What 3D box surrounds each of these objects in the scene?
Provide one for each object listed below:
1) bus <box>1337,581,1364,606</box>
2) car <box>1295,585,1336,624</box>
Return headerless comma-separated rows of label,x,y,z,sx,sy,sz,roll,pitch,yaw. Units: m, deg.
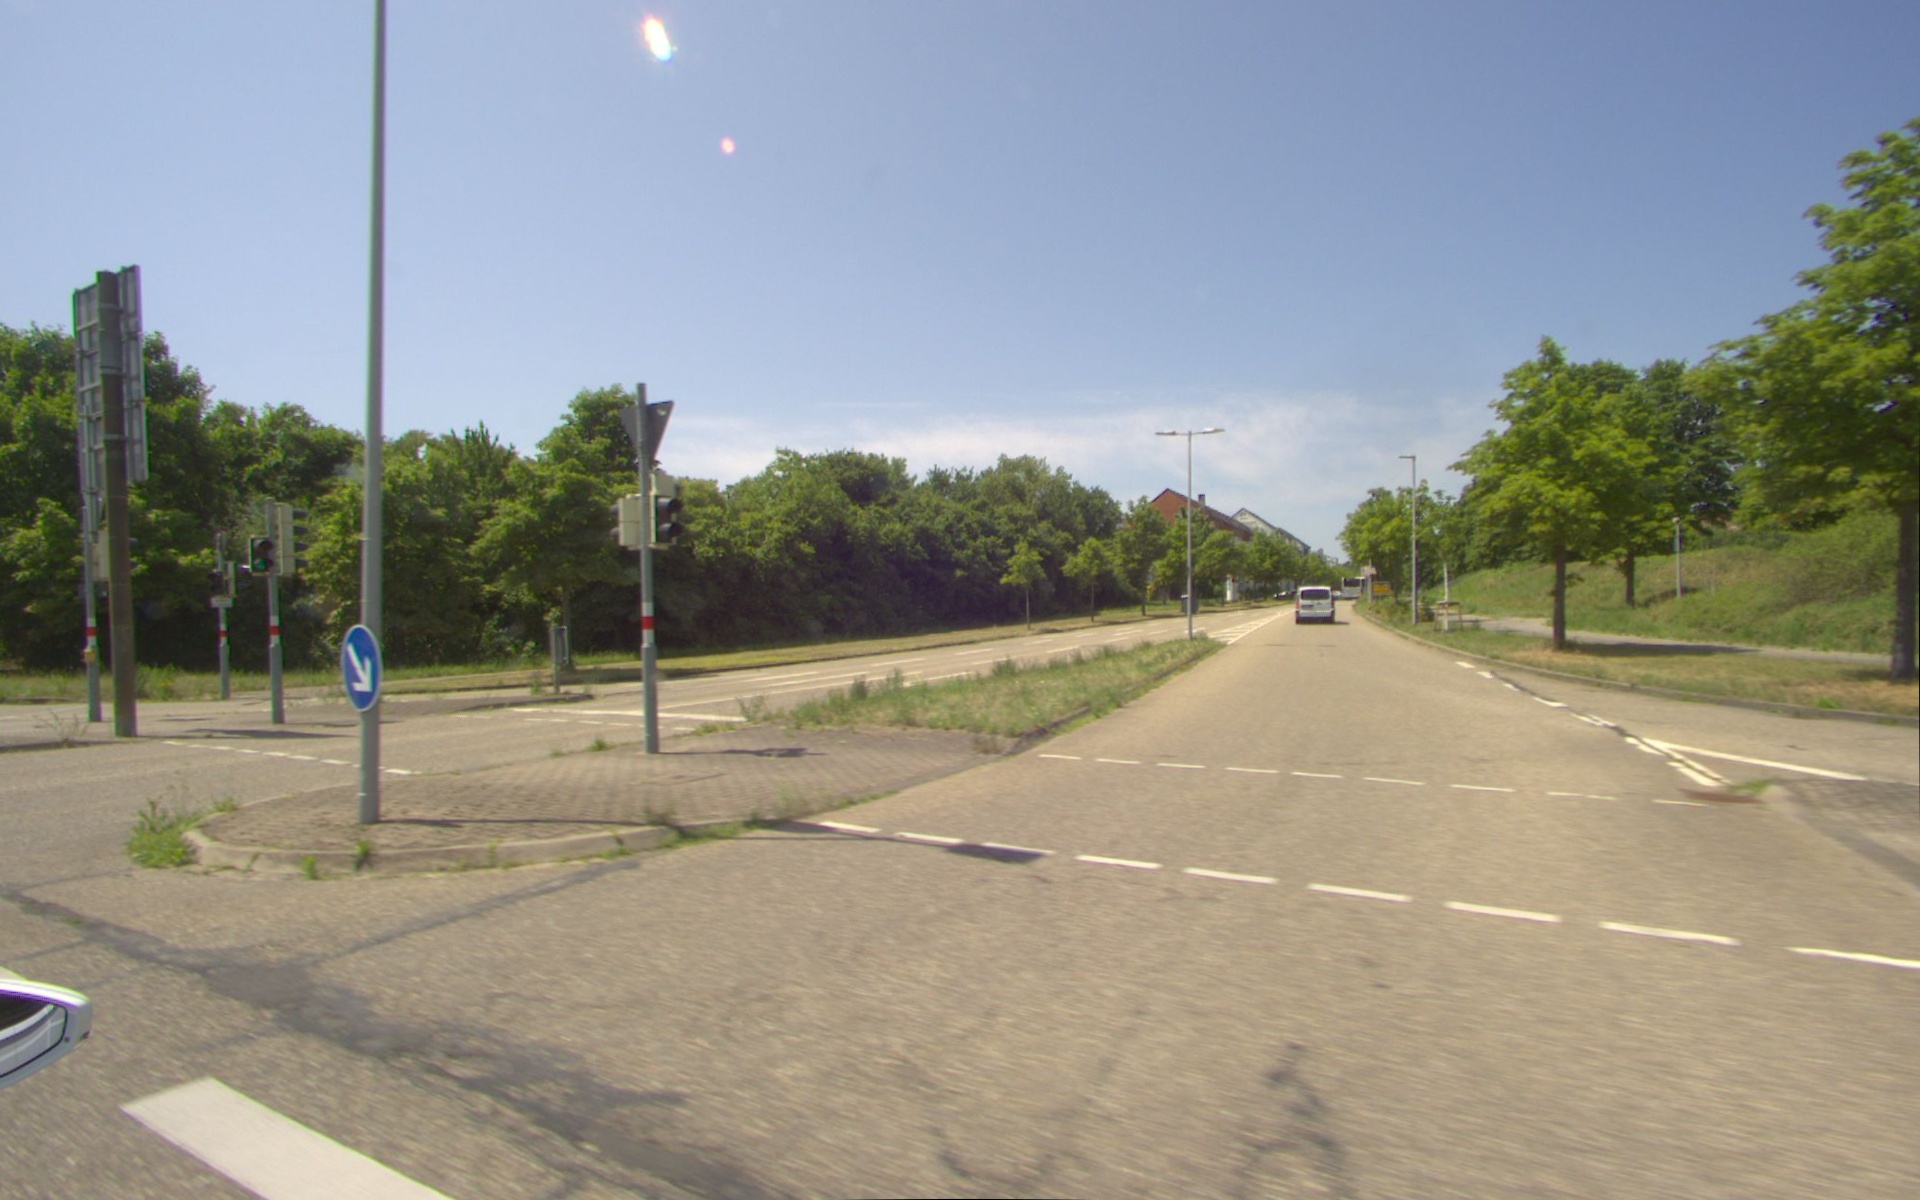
bus,52.590,-0.788,134.816,2.588,3.127,12.041,-1,-1,25
car,17.926,0.191,50.704,1.833,1.843,4.897,0,1,18
